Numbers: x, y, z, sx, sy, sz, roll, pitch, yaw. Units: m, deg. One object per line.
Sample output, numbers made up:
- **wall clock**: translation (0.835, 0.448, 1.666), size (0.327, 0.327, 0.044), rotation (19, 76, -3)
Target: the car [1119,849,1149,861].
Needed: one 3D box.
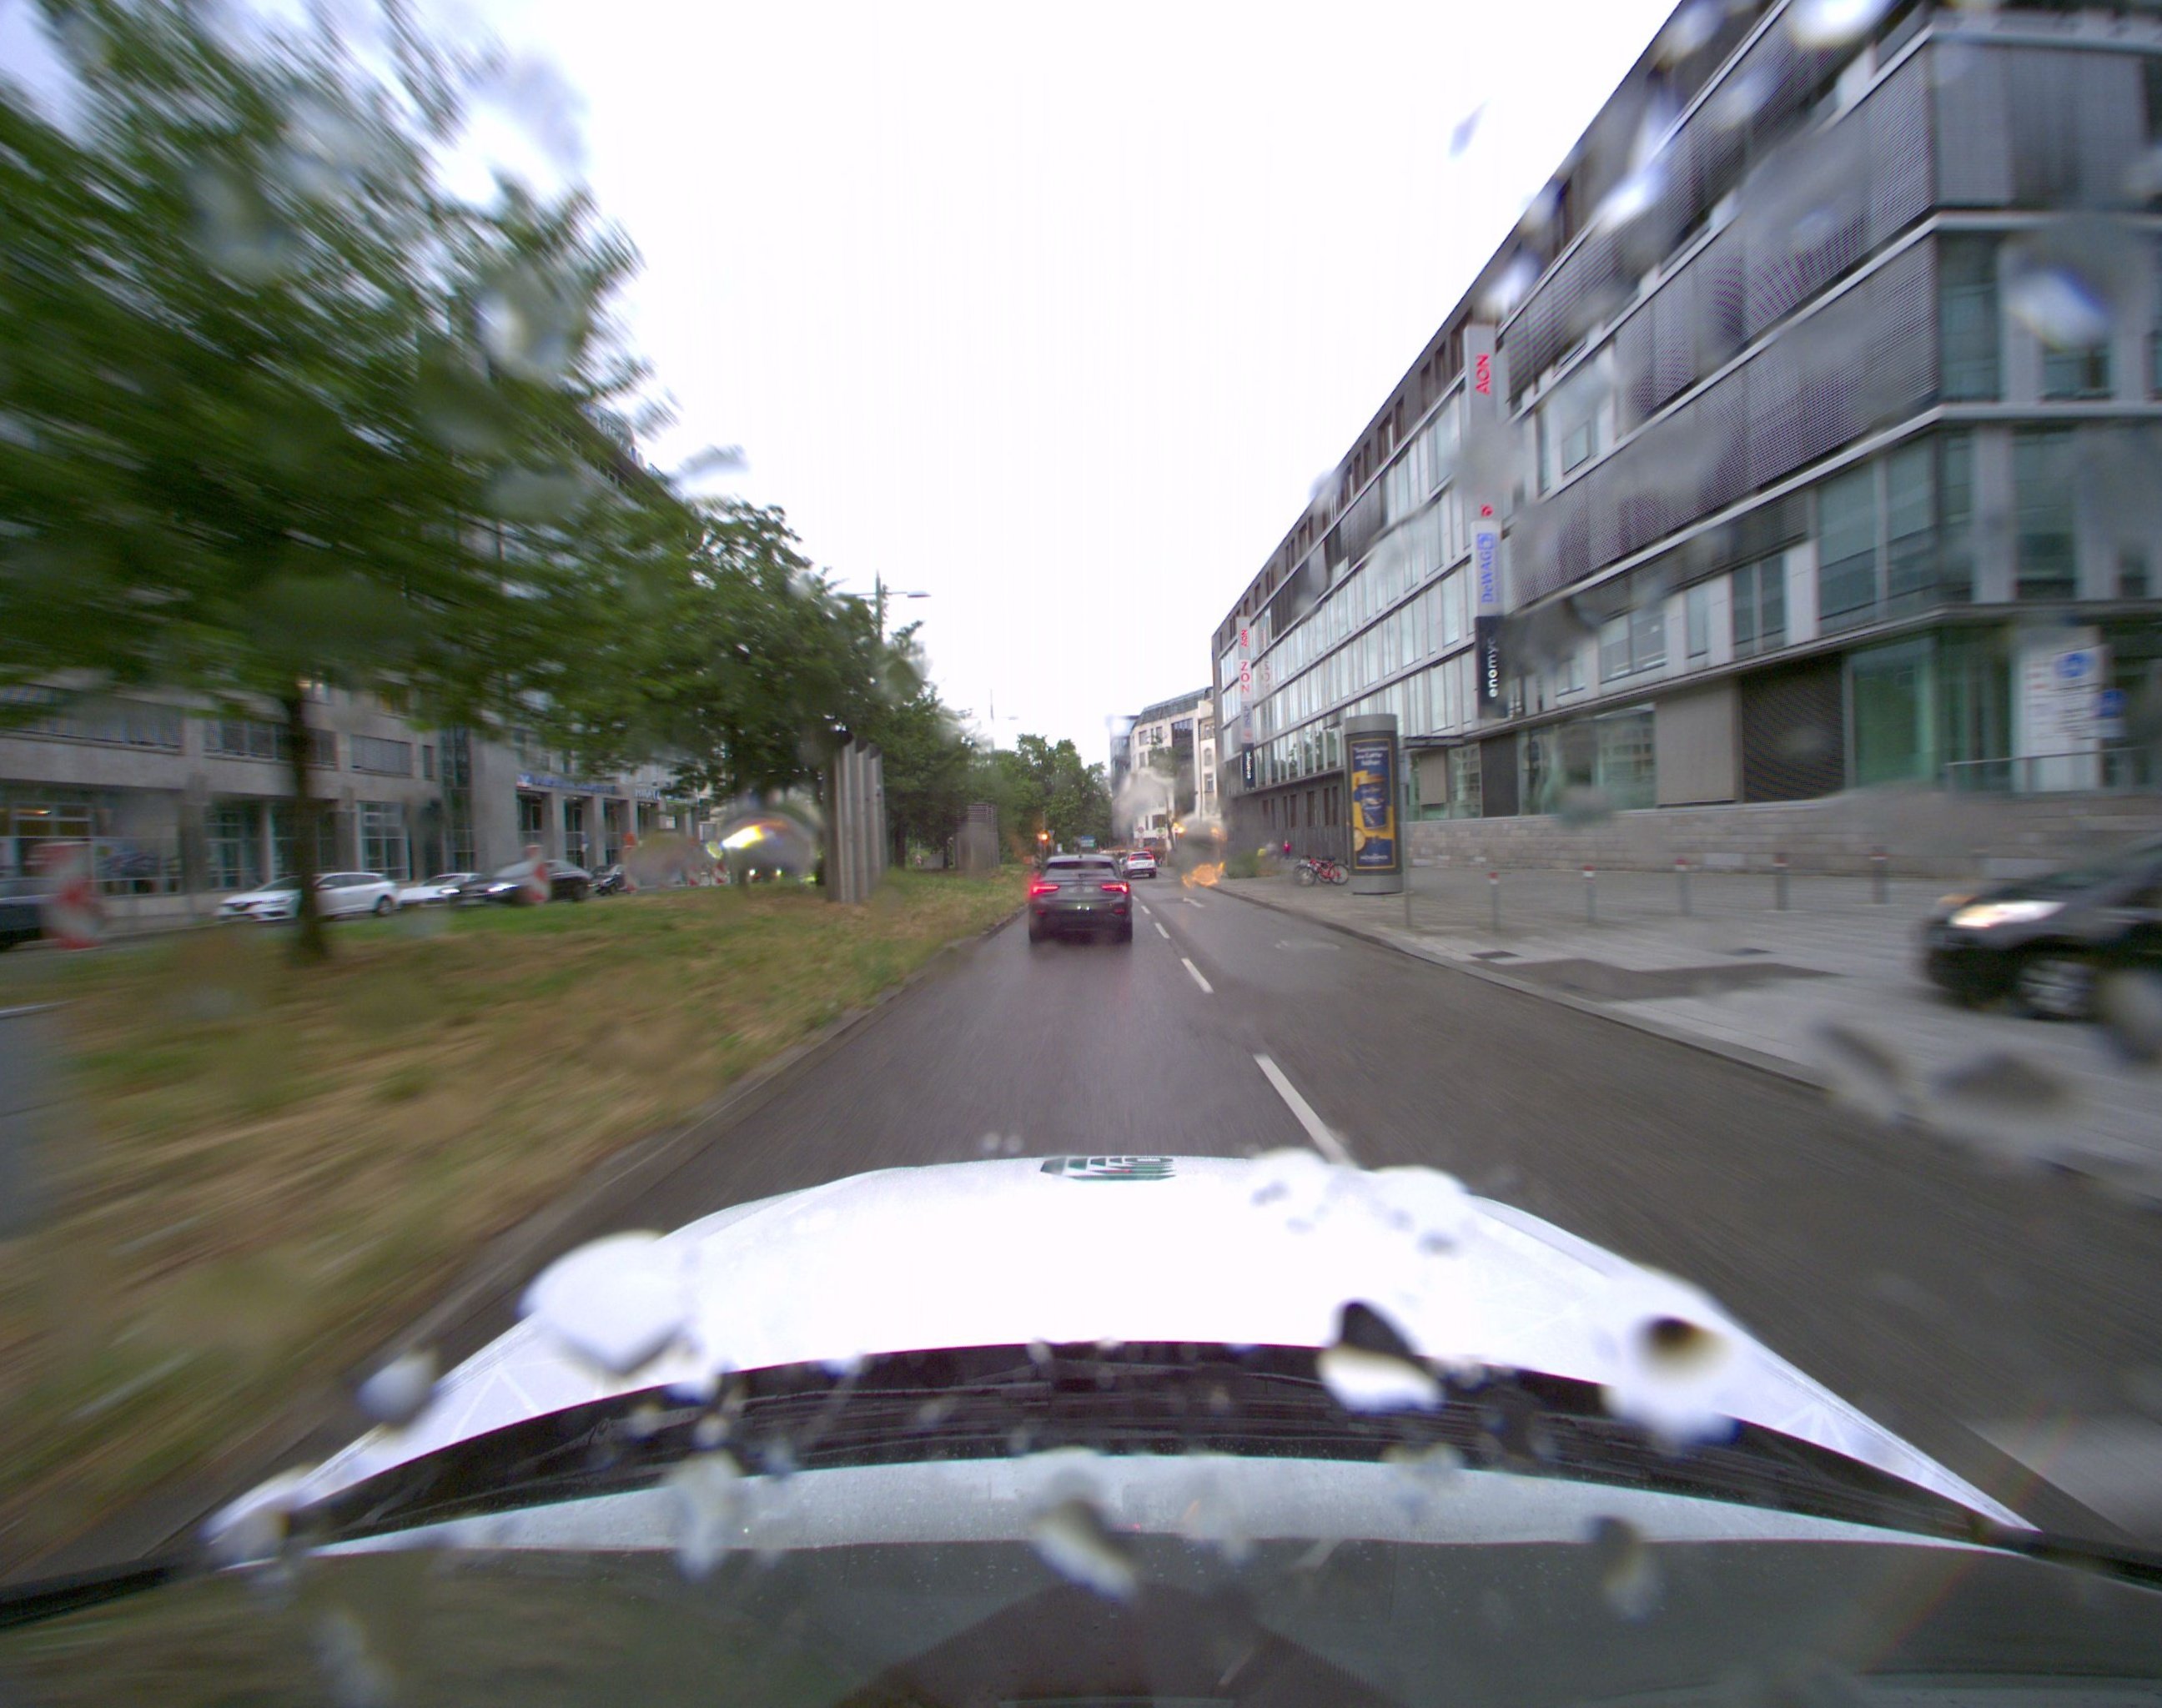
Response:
- **car**: translation (7.580, 0.122, 115.719), size (3.963, 1.647, 2.005), rotation (2, 0, 10)

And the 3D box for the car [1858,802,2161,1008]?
- **car**: translation (8.333, 0.316, 5.908), size (3.785, 1.417, 1.645), rotation (-2, 0, 41)

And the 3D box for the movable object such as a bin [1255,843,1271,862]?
- **movable object such as a bin**: translation (12.655, -0.096, 56.702), size (0.729, 1.264, 1.444), rotation (-5, 0, 0)

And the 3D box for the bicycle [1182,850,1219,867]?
- **bicycle**: translation (8.641, 0.337, 59.106), size (2.529, 1.087, 0.677), rotation (-3, 0, -2)

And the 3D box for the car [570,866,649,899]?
- **car**: translation (-23.950, 1.417, 41.561), size (1.771, 1.401, 4.012), rotation (-3, 1, -2)

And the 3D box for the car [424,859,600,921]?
- **car**: translation (-15.901, 0.925, 23.111), size (1.857, 1.429, 4.562), rotation (-3, 1, -2)

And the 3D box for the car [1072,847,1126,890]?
- **car**: translation (0.753, 0.616, 36.103), size (2.155, 1.706, 4.553), rotation (-2, 0, 0)

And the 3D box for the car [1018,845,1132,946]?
- **car**: translation (0.029, 0.658, 15.580), size (1.840, 1.616, 4.256), rotation (-2, 1, 3)

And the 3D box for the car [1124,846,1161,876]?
- **car**: translation (3.820, 0.416, 51.193), size (2.170, 1.700, 4.002), rotation (-2, 0, 2)

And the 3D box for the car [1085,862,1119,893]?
- **car**: translation (1.329, 1.396, 49.938), size (1.937, 1.646, 4.248), rotation (-2, 0, 3)

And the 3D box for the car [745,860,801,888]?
- **car**: translation (-17.813, 1.128, 47.267), size (1.858, 1.429, 4.126), rotation (-3, 1, -4)

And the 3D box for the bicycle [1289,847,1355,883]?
- **bicycle**: translation (8.098, 0.365, 27.442), size (1.973, 1.104, 0.810), rotation (-3, 0, 6)

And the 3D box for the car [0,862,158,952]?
- **car**: translation (-22.174, 1.095, 16.308), size (1.856, 1.725, 4.791), rotation (-2, 0, 0)

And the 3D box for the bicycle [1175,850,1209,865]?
- **bicycle**: translation (8.928, 0.288, 65.561), size (2.529, 1.087, 0.677), rotation (-3, 0, -2)

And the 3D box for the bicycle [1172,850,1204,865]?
- **bicycle**: translation (8.931, 0.319, 67.954), size (2.529, 1.087, 0.677), rotation (-3, 0, -2)

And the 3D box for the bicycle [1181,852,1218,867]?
- **bicycle**: translation (8.415, 0.388, 57.889), size (2.529, 1.087, 0.677), rotation (-1, 0, -2)

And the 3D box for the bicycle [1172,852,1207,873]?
- **bicycle**: translation (6.569, 0.527, 49.314), size (2.142, 1.145, 0.755), rotation (-3, -1, -35)

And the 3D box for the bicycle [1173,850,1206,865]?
- **bicycle**: translation (8.934, 0.284, 67.205), size (2.529, 1.087, 0.677), rotation (-3, 0, -2)

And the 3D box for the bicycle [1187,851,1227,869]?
- **bicycle**: translation (8.588, 0.402, 55.595), size (2.529, 1.057, 0.677), rotation (-3, 0, -2)

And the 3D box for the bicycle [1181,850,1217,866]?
- **bicycle**: translation (8.777, 0.295, 60.768), size (2.529, 1.087, 0.677), rotation (-3, 0, -2)

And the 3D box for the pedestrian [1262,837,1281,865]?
- **pedestrian**: translation (12.948, -0.180, 55.360), size (0.898, 1.792, 1.046), rotation (-5, 0, -2)

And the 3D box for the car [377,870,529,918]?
- **car**: translation (-22.481, 1.376, 29.437), size (1.770, 1.401, 4.684), rotation (-3, 1, 0)

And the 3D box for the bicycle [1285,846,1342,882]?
- **bicycle**: translation (8.339, 0.354, 29.287), size (1.827, 1.197, 0.661), rotation (-4, 0, 6)

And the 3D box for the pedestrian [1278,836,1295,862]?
- **pedestrian**: translation (13.979, -0.352, 55.416), size (0.716, 1.690, 1.099), rotation (-5, 0, -2)

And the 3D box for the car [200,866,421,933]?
- **car**: translation (-22.335, 1.243, 23.953), size (1.770, 1.622, 4.912), rotation (-2, 0, 0)

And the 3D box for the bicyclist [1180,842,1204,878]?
- **bicyclist**: translation (6.729, 0.366, 49.435), size (1.090, 2.083, 0.755), rotation (-3, -1, -35)

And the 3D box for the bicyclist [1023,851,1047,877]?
- **bicyclist**: translation (-2.798, 0.610, 49.343), size (1.122, 1.582, 1.020), rotation (0, 0, 22)

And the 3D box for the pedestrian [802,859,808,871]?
- **pedestrian**: translation (-48.976, 1.931, 144.746), size (0.796, 2.014, 0.731), rotation (0, -1, -41)

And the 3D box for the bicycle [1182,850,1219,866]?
- **bicycle**: translation (8.787, 0.300, 59.955), size (2.529, 1.087, 0.677), rotation (-3, 0, -2)

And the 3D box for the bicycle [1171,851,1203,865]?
- **bicycle**: translation (8.938, 0.329, 68.677), size (2.529, 1.087, 0.627), rotation (-3, 0, -2)

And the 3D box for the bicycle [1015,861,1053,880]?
- **bicycle**: translation (-2.849, 0.993, 49.362), size (2.042, 1.114, 1.017), rotation (0, 0, 22)
